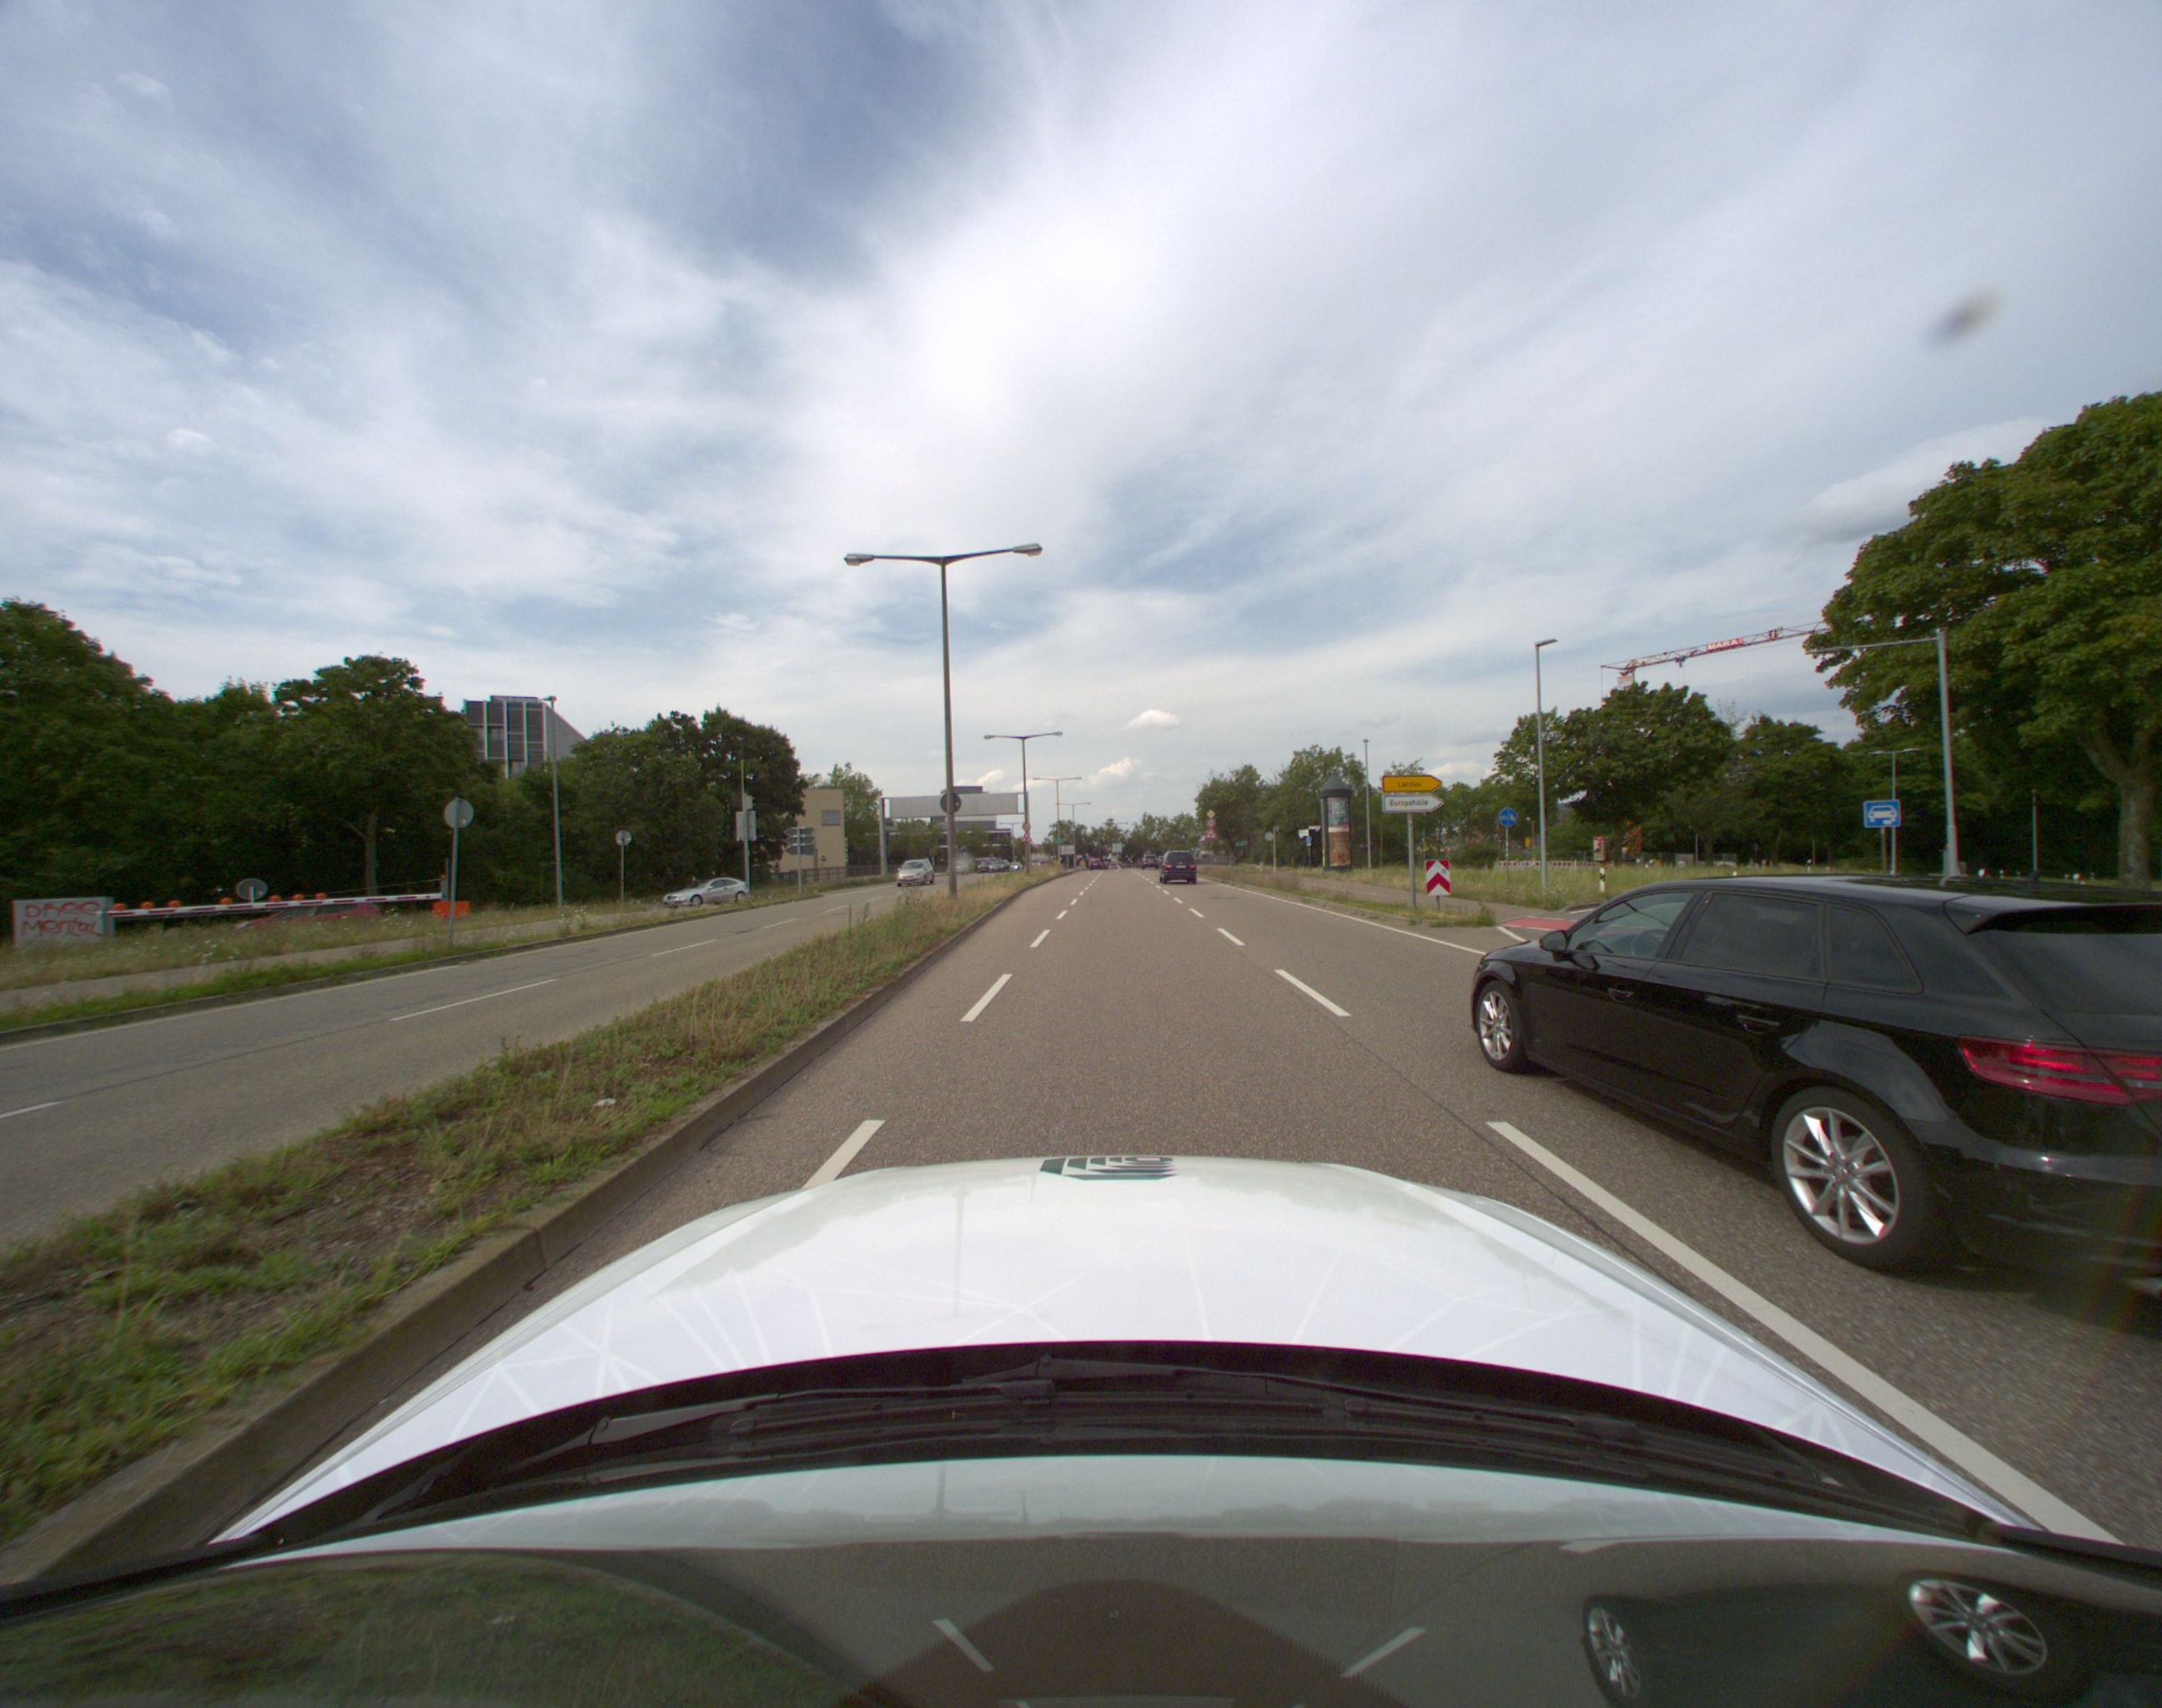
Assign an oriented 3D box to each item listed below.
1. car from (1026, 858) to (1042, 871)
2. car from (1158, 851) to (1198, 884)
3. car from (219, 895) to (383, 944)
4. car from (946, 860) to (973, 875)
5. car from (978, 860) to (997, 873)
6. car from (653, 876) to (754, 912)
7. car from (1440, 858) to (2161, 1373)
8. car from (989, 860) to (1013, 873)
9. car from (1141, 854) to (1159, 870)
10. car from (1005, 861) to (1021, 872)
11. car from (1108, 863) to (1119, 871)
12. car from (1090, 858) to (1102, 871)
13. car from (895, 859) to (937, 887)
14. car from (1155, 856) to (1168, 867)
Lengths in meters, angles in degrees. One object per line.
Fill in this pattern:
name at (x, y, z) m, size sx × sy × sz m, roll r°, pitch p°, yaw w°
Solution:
car at (-5.885, 1.326, 101.776) m, size 1.689 × 1.486 × 3.860 m, roll -2°, pitch -1°, yaw 0°
car at (5.115, 0.697, 43.345) m, size 1.724 × 1.653 × 4.116 m, roll -1°, pitch 0°, yaw 1°
car at (-28.309, 2.337, 29.696) m, size 1.498 × 1.368 × 4.204 m, roll -3°, pitch 0°, yaw 44°
car at (-12.839, 1.429, 86.164) m, size 1.658 × 1.419 × 4.320 m, roll -4°, pitch -1°, yaw 5°
car at (-12.015, 1.615, 104.833) m, size 1.786 × 1.525 × 4.596 m, roll -4°, pitch -1°, yaw 2°
car at (-18.763, 1.957, 40.718) m, size 1.729 × 1.446 × 4.486 m, roll -3°, pitch 0°, yaw 23°
car at (3.662, 0.743, 4.347) m, size 1.724 × 1.395 × 4.116 m, roll -1°, pitch 0°, yaw 1°
car at (-9.021, 1.391, 92.194) m, size 1.656 × 1.425 × 4.529 m, roll -4°, pitch -1°, yaw 8°
car at (7.697, 0.885, 90.628) m, size 1.724 × 1.653 × 4.116 m, roll -1°, pitch 0°, yaw 1°
car at (-10.187, 1.901, 121.531) m, size 1.786 × 1.525 × 4.190 m, roll -4°, pitch -1°, yaw 2°
car at (6.018, 2.385, 151.900) m, size 1.726 × 1.526 × 4.111 m, roll -1°, pitch 0°, yaw -2°
car at (2.112, 1.443, 113.946) m, size 1.724 × 1.653 × 4.116 m, roll -1°, pitch 0°, yaw 1°
car at (-10.607, 1.212, 52.559) m, size 1.740 × 1.598 × 4.563 m, roll -3°, pitch 0°, yaw -1°
car at (10.981, 0.978, 111.325) m, size 1.502 × 1.447 × 3.140 m, roll -1°, pitch 0°, yaw 1°
